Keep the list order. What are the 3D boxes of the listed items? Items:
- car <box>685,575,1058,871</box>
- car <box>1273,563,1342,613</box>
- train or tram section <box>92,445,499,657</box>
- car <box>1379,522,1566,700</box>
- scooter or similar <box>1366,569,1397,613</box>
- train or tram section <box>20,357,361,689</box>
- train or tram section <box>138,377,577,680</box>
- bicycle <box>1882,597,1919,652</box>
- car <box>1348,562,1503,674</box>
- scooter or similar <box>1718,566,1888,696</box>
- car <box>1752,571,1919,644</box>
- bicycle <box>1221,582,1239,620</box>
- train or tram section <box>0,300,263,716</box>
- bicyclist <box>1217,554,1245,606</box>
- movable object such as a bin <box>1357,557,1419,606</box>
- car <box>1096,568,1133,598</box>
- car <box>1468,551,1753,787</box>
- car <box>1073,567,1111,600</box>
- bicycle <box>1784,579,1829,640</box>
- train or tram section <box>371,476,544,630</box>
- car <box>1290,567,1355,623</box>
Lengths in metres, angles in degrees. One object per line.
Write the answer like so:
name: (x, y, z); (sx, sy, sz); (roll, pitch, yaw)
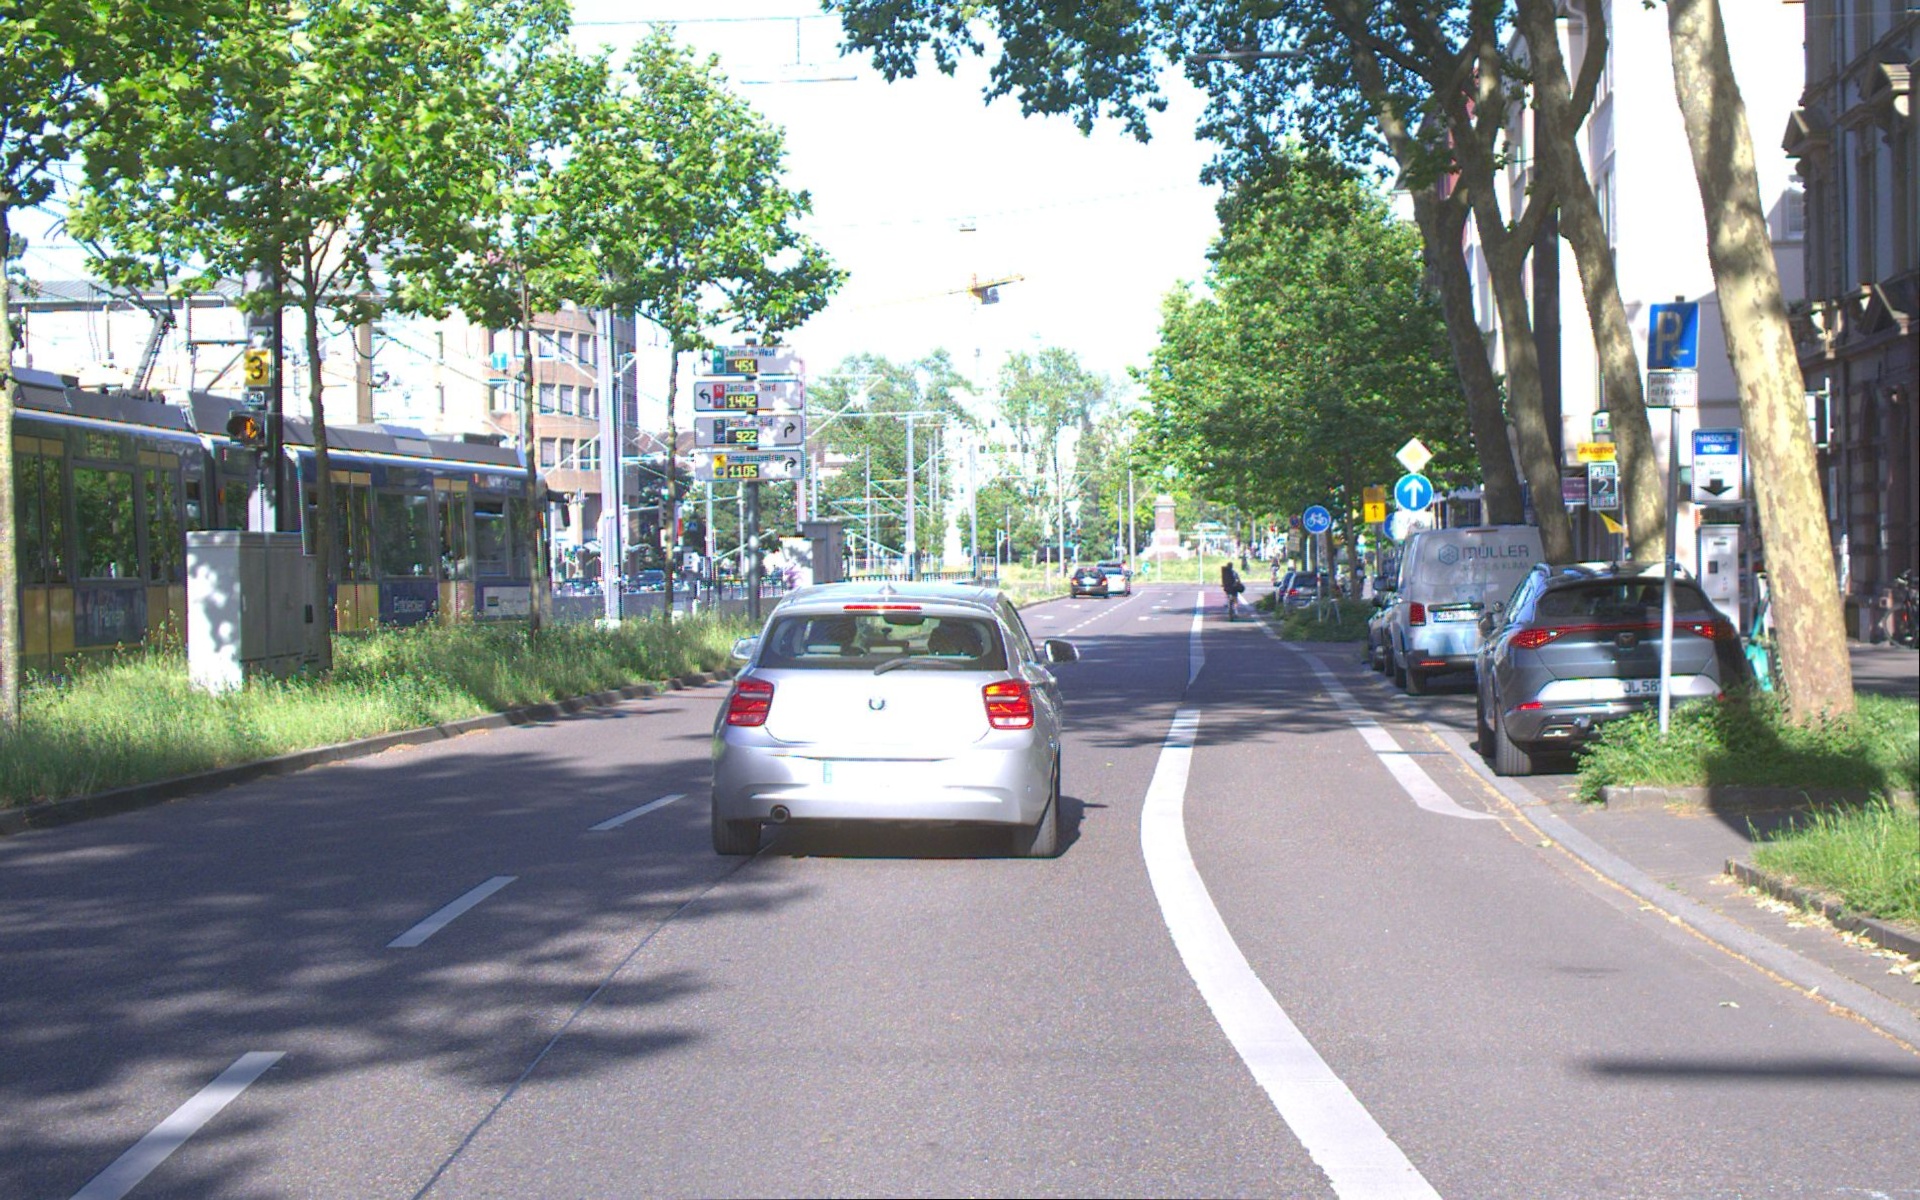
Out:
car: (-0.424, 0.587, 18.850); (1.798, 1.410, 4.000); (1, 0, 0)
car: (10.912, -0.391, 108.246); (2.039, 1.504, 4.593); (0, 1, 4)
train or tram section: (-12.456, -0.950, 67.658); (2.964, 3.472, 21.216); (1, 1, 3)
car: (6.194, 0.112, 41.960); (1.856, 2.007, 4.723); (1, 0, 4)
scooter or similar: (11.544, -0.246, 94.104); (0.379, 1.192, 1.573); (-1, 0, 24)
train or tram section: (-9.508, -0.935, 42.858); (2.956, 3.883, 3.865); (1, 0, 7)
train or tram section: (-8.454, -0.967, 50.112); (2.954, 3.883, 10.799); (1, 0, 9)
bicycle: (13.901, 0.352, 50.143); (0.549, 0.771, 1.662); (-2, 0, 4)
car: (6.740, 0.234, 50.137); (1.818, 1.510, 4.707); (1, 0, 3)
scooter or similar: (8.176, 0.298, 33.374); (1.541, 1.233, 0.449); (-1, 0, 5)
car: (18.908, 0.154, 72.967); (3.941, 1.469, 1.665); (1, 0, 8)
bicycle: (7.991, 0.018, 101.631); (0.499, 1.085, 1.997); (1, 0, 4)
train or tram section: (-10.127, -0.886, 33.864); (2.929, 3.799, 14.272); (1, 0, 3)
bicyclist: (8.007, -0.599, 101.652); (0.785, 1.526, 0.895); (1, 0, 4)
movable object such as a bin: (16.982, -0.735, 136.556); (1.945, 1.837, 3.480); (-1, 1, -1)
car: (7.409, -0.806, 164.996); (1.645, 1.416, 3.999); (1, 0, 4)
car: (4.739, 0.457, 25.525); (1.668, 1.565, 4.279); (1, 0, 6)
car: (6.014, -0.747, 156.992); (1.726, 1.465, 4.410); (0, 0, 2)
bicycle: (14.170, 0.149, 57.582); (0.414, 0.994, 1.882); (0, 0, 4)
train or tram section: (-11.808, -1.117, 81.355); (2.956, 3.472, 6.059); (1, 1, 2)
car: (10.585, -0.166, 100.597); (1.695, 1.497, 3.801); (-3, 1, 4)
